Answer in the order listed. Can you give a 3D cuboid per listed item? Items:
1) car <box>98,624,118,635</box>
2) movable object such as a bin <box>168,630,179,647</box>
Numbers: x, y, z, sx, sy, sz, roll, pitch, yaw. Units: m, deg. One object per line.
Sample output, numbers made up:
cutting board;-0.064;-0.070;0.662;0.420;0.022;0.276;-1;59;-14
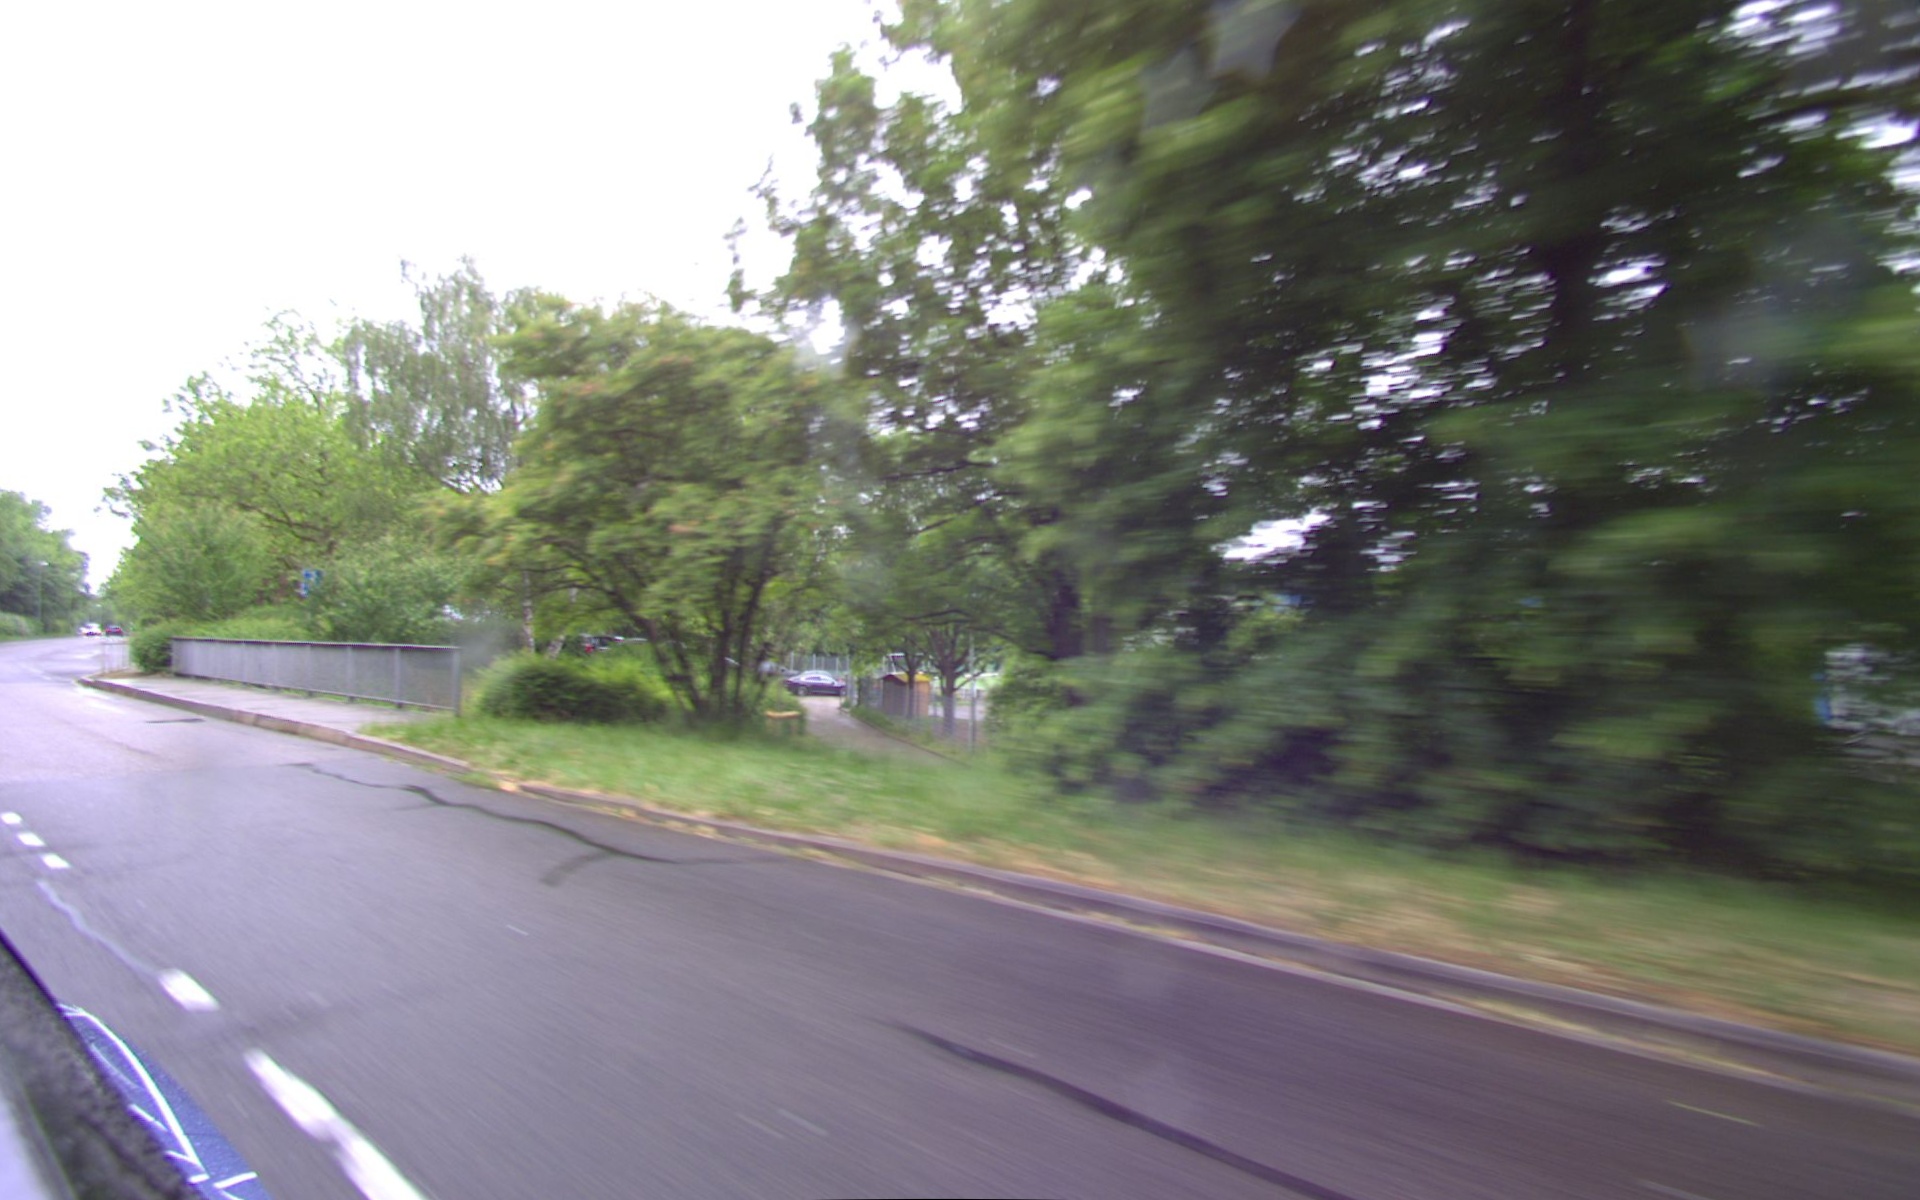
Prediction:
car;-117.770;4.118;139.895;1.802;1.476;4.009;3;-3;-37
movable object such as a bin;-54.915;2.680;70.673;0.559;1.107;0.673;-2;0;-36
